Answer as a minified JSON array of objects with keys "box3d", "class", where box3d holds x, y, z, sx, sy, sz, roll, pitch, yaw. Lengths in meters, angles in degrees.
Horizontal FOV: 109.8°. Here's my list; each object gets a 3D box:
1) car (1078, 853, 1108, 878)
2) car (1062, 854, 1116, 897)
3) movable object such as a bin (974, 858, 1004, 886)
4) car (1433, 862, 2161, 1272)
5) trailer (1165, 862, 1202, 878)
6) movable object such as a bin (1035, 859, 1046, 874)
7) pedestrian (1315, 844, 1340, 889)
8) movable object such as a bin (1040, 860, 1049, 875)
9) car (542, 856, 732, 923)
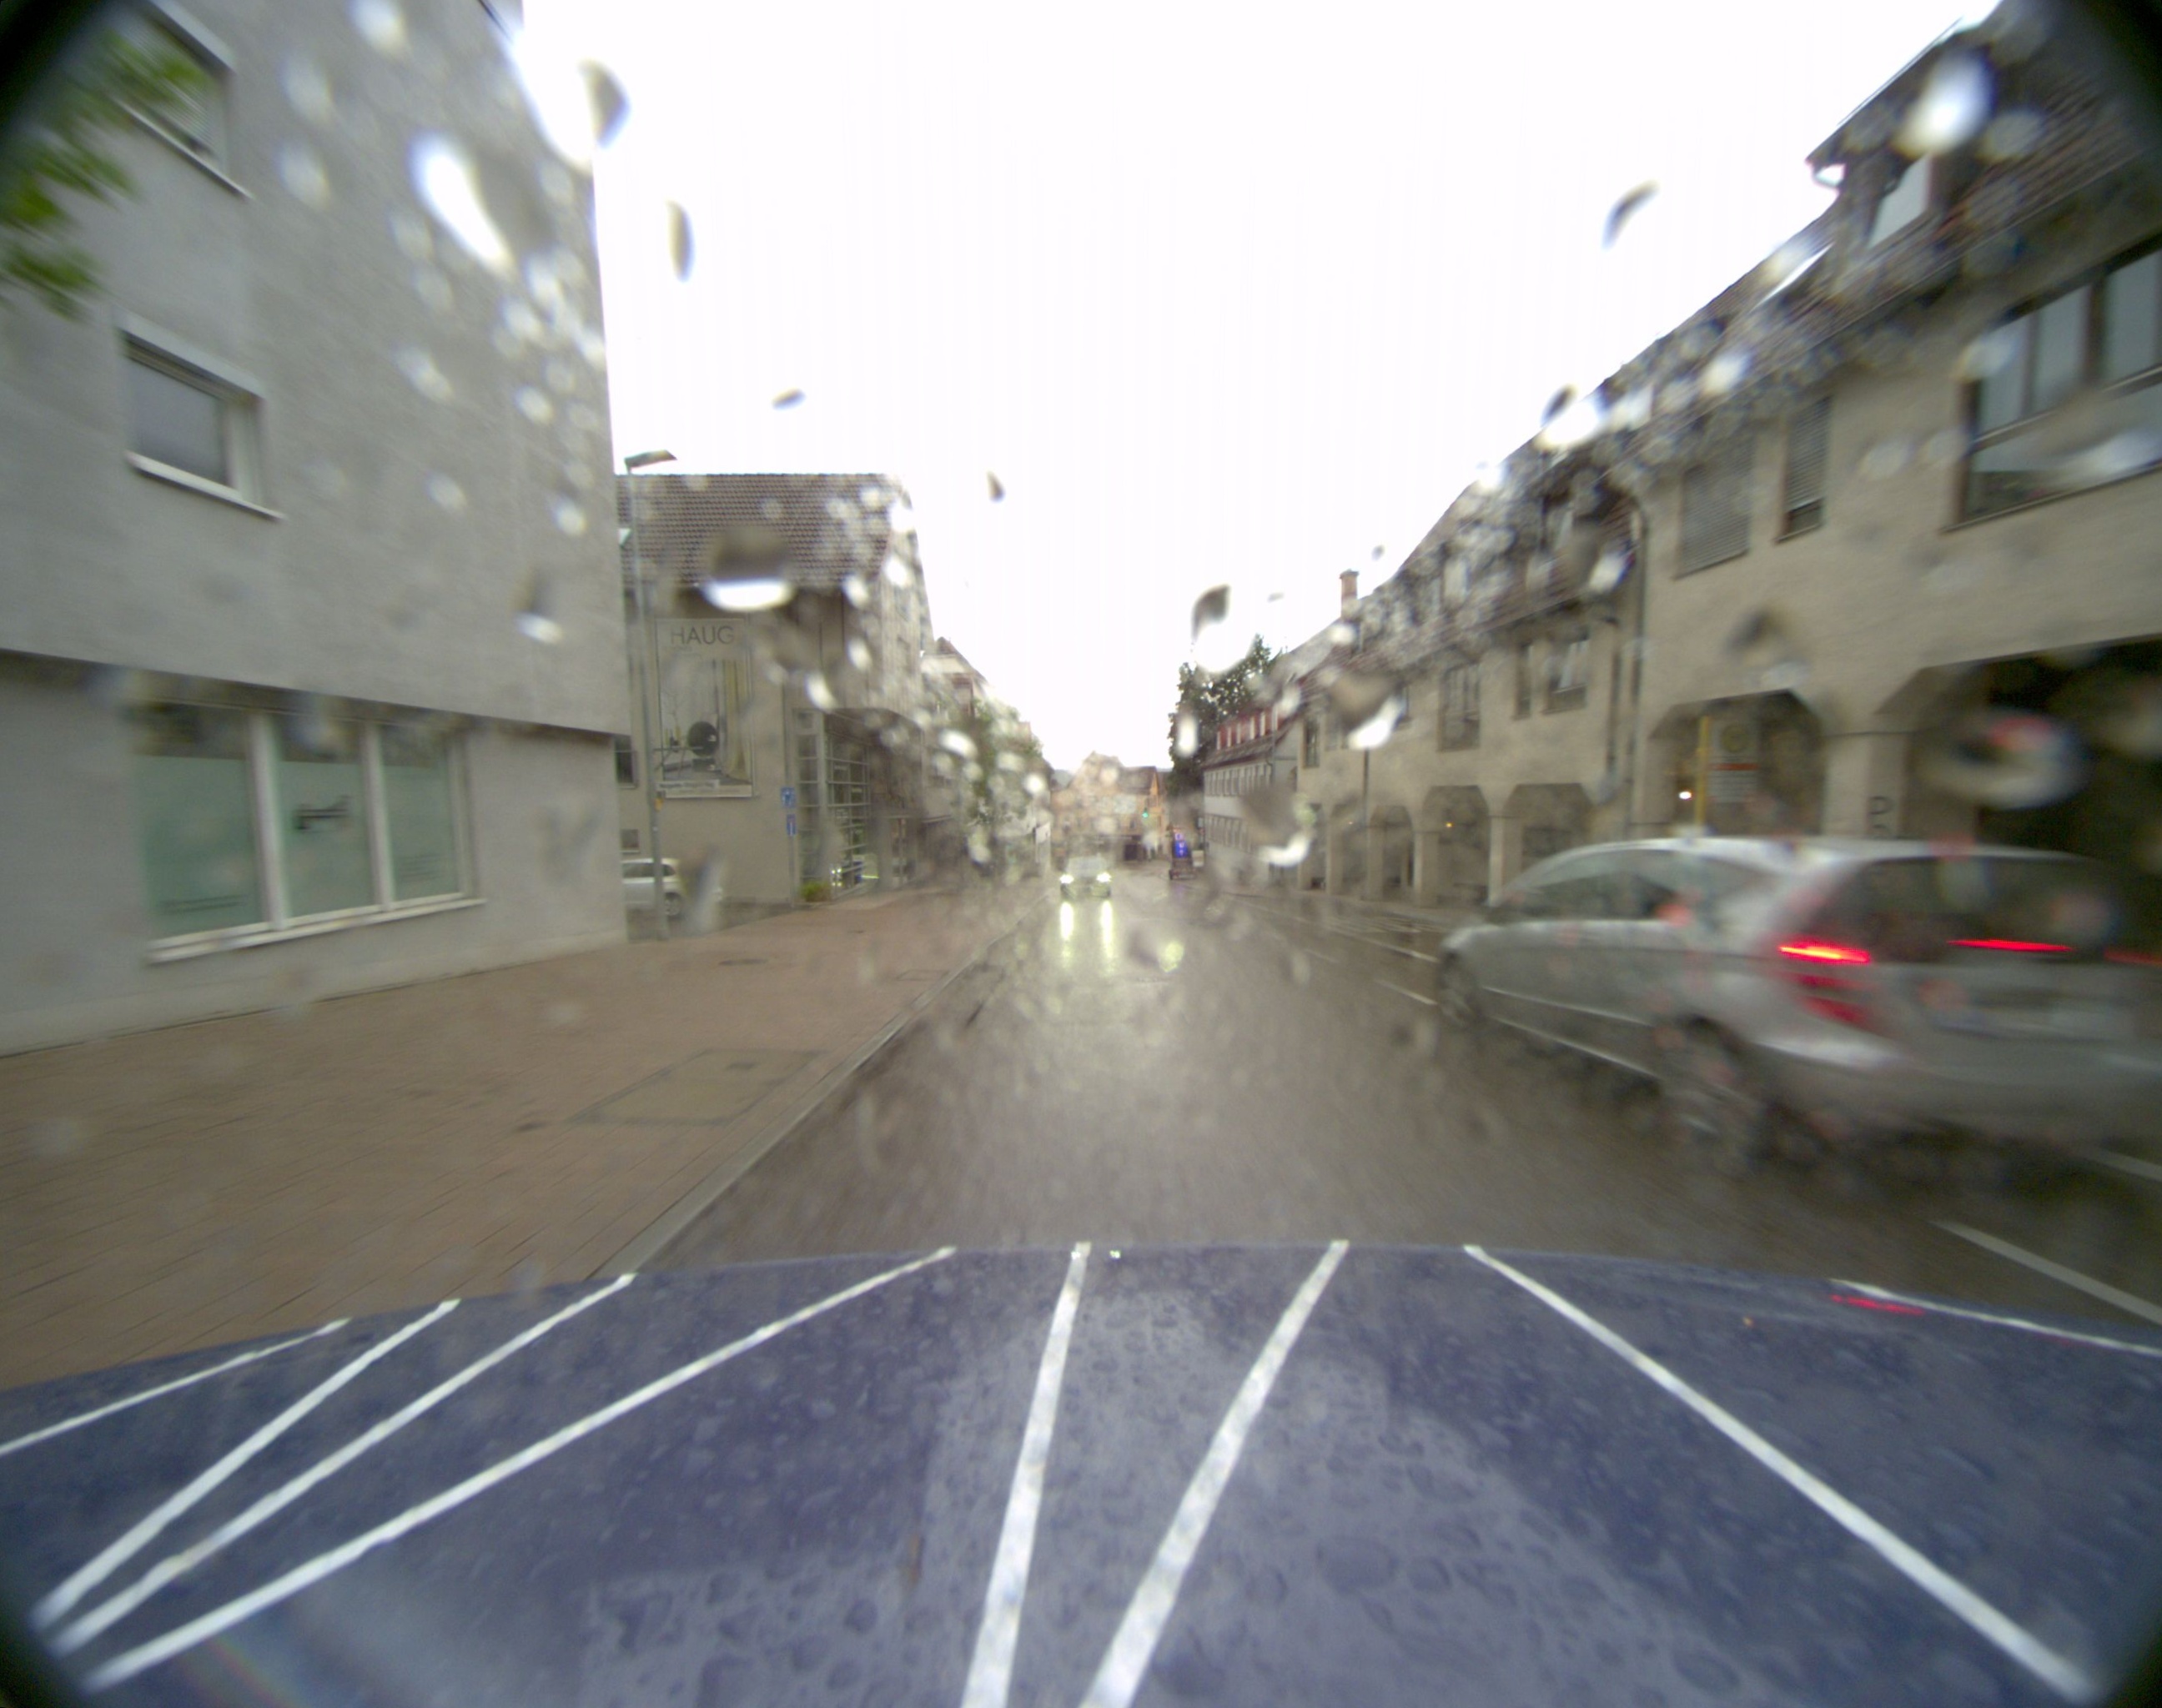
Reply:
[{"box3d":[0.859,0.772,52.918,1.967,1.598,4.384,-1,0,2],"class":"car"},{"box3d":[0.344,0.779,30.204,1.967,1.549,4.622,-1,0,1],"class":"car"},{"box3d":[-4.416,0.845,36.566,1.237,1.327,1.173,1,0,2],"class":"movable object such as a bin"},{"box3d":[3.877,0.835,4.709,1.681,1.501,3.588,-1,0,-1],"class":"car"},{"box3d":[6.657,1.023,49.804,1.998,0.900,4.478,-2,0,3],"class":"trailer"},{"box3d":[-2.834,0.855,53.430,0.571,1.022,0.467,1,1,-40],"class":"movable object such as a bin"},{"box3d":[9.859,0.500,30.403,0.690,1.730,0.735,-3,1,3],"class":"pedestrian"},{"box3d":[-2.625,0.983,54.621,0.596,1.022,0.476,2,1,2],"class":"movable object such as a bin"},{"box3d":[-11.174,0.875,19.322,3.772,1.446,1.743,2,1,-1],"class":"car"}]
